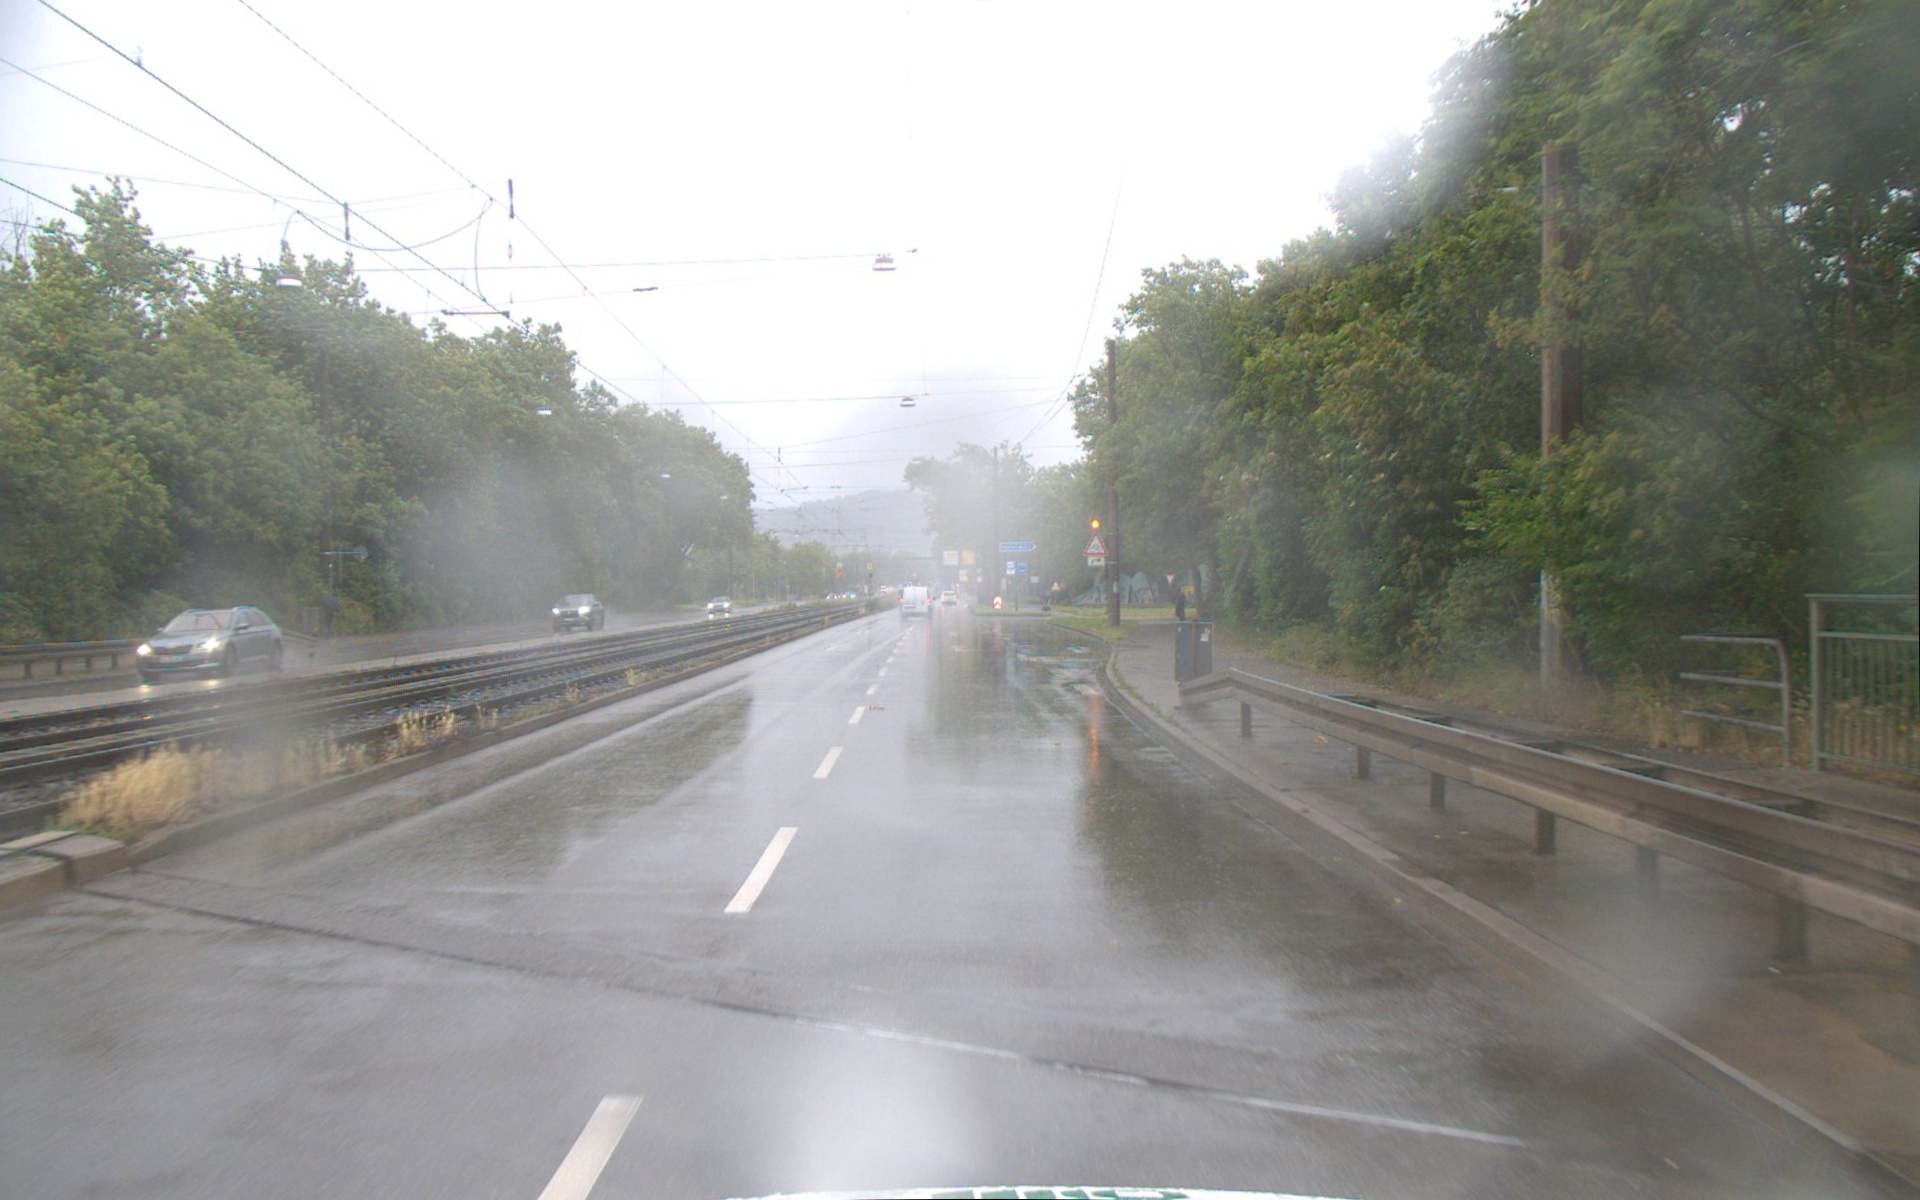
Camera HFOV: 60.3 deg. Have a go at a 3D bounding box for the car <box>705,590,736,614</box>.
[{"bbox_3d":[-19.642,0.153,135.985,1.954,1.813,3.999,4,0,-2],"label":"car"}]

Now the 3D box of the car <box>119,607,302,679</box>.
[{"bbox_3d":[-16.390,0.897,36.491,1.953,1.413,4.851,0,1,-2],"label":"car"}]

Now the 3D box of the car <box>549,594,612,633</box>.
[{"bbox_3d":[-17.552,0.581,76.681,1.953,1.701,4.870,0,1,-2],"label":"car"}]

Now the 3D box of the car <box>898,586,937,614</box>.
[{"bbox_3d":[-2.305,0.017,90.639,2.035,1.445,3.999,-1,0,-1],"label":"car"}]
